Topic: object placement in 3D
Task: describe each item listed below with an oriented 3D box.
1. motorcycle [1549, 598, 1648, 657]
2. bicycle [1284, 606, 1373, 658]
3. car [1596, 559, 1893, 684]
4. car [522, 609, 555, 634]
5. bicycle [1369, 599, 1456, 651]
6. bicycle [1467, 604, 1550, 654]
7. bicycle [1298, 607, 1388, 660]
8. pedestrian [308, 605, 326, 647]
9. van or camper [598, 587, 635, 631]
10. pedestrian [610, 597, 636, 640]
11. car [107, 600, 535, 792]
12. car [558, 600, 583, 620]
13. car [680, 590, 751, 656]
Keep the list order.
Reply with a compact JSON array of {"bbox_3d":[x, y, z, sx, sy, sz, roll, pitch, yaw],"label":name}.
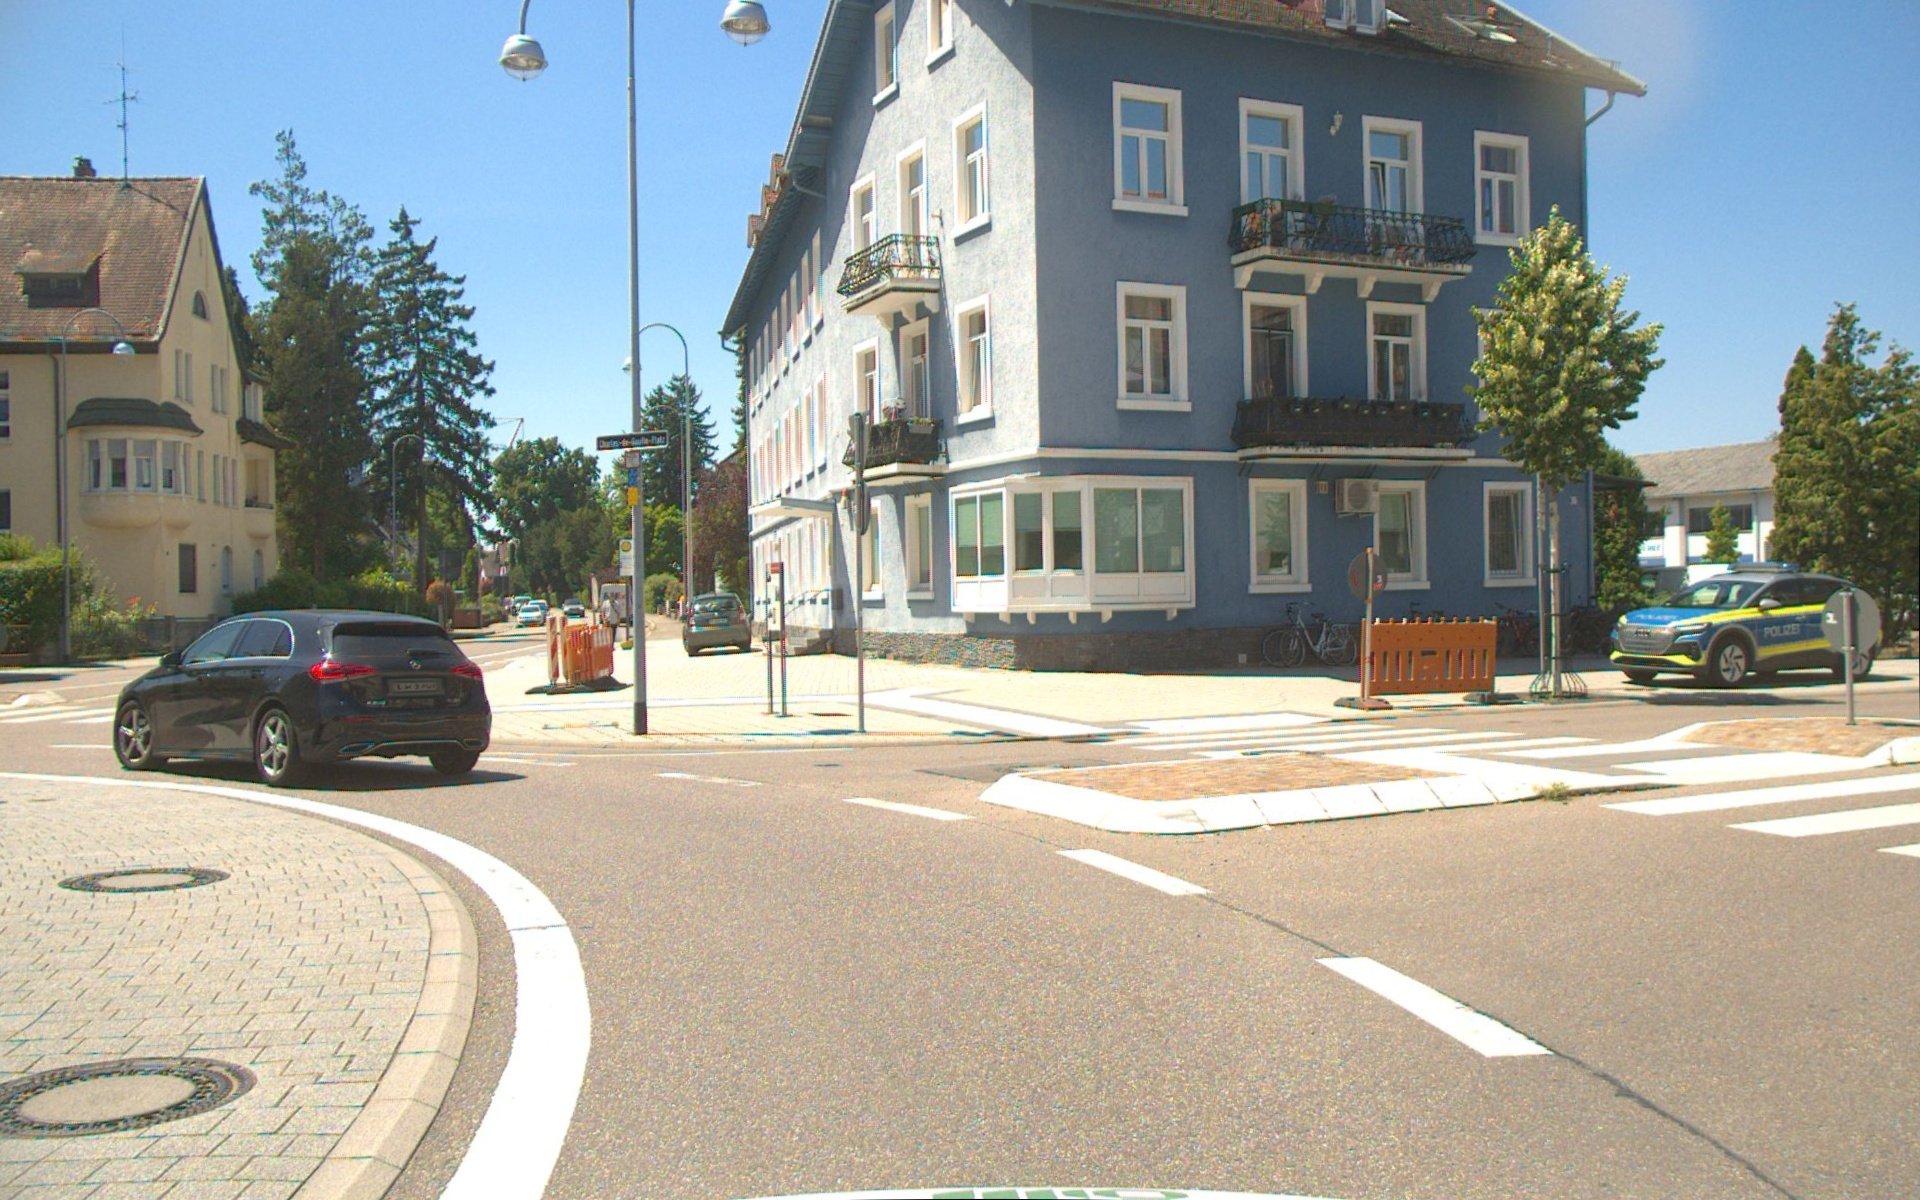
[{"bbox_3d":[12.254,0.511,31.740,1.873,1.070,0.584,-1,2,-22],"label":"motorcycle"},{"bbox_3d":[6.796,0.583,30.515,1.685,0.922,0.437,-1,2,-25],"label":"bicycle"},{"bbox_3d":[11.990,0.274,25.271,4.181,1.774,1.892,-1,1,-25],"label":"car"},{"bbox_3d":[-28.936,1.477,113.575,1.958,1.680,3.988,-1,0,-12],"label":"car"},{"bbox_3d":[8.529,0.467,31.172,1.685,0.922,0.477,-1,2,-25],"label":"bicycle"},{"bbox_3d":[10.724,0.550,32.326,1.685,0.922,0.477,-1,2,-25],"label":"bicycle"},{"bbox_3d":[6.978,0.599,30.090,1.685,0.922,0.437,-1,2,-25],"label":"bicycle"},{"bbox_3d":[-23.911,0.967,61.513,0.512,1.535,0.473,-1,0,-5],"label":"pedestrian"},{"bbox_3d":[-21.202,0.562,101.950,2.167,2.656,3.987,-1,0,-12],"label":"van or camper"},{"bbox_3d":[-10.816,0.596,53.071,0.653,1.308,0.587,-4,1,-3],"label":"pedestrian"},{"bbox_3d":[-5.748,0.761,14.699,3.927,1.452,1.949,-1,0,41],"label":"car"},{"bbox_3d":[-34.504,0.855,146.662,1.958,1.747,3.989,-1,0,-11],"label":"car"},{"bbox_3d":[-6.421,0.554,43.166,1.611,1.533,3.555,-4,1,-10],"label":"car"}]
